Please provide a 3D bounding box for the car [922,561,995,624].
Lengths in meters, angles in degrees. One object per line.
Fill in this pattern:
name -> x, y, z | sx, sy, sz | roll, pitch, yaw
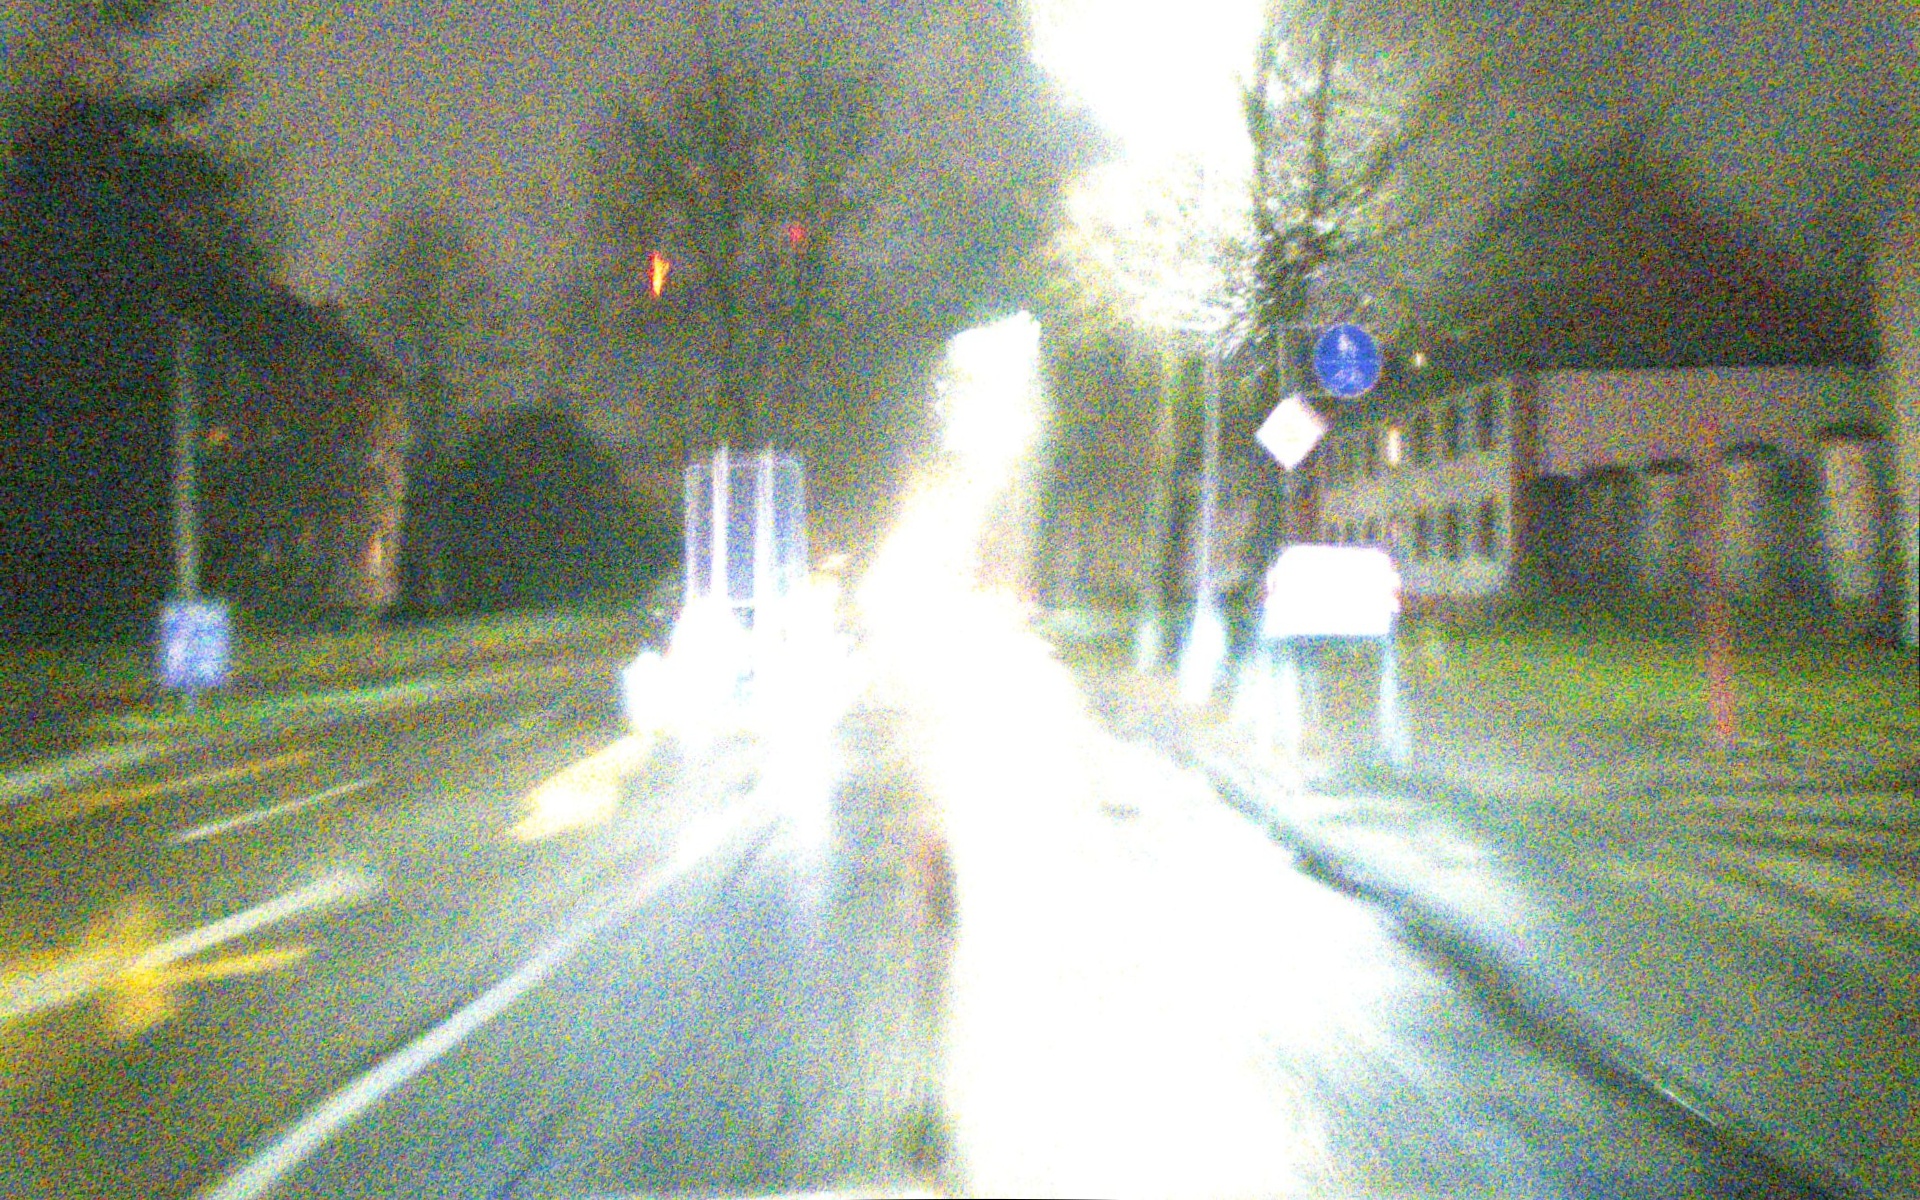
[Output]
car -> -0.098, -0.230, 48.699 | 1.953, 1.713, 3.998 | 1, 1, -2
